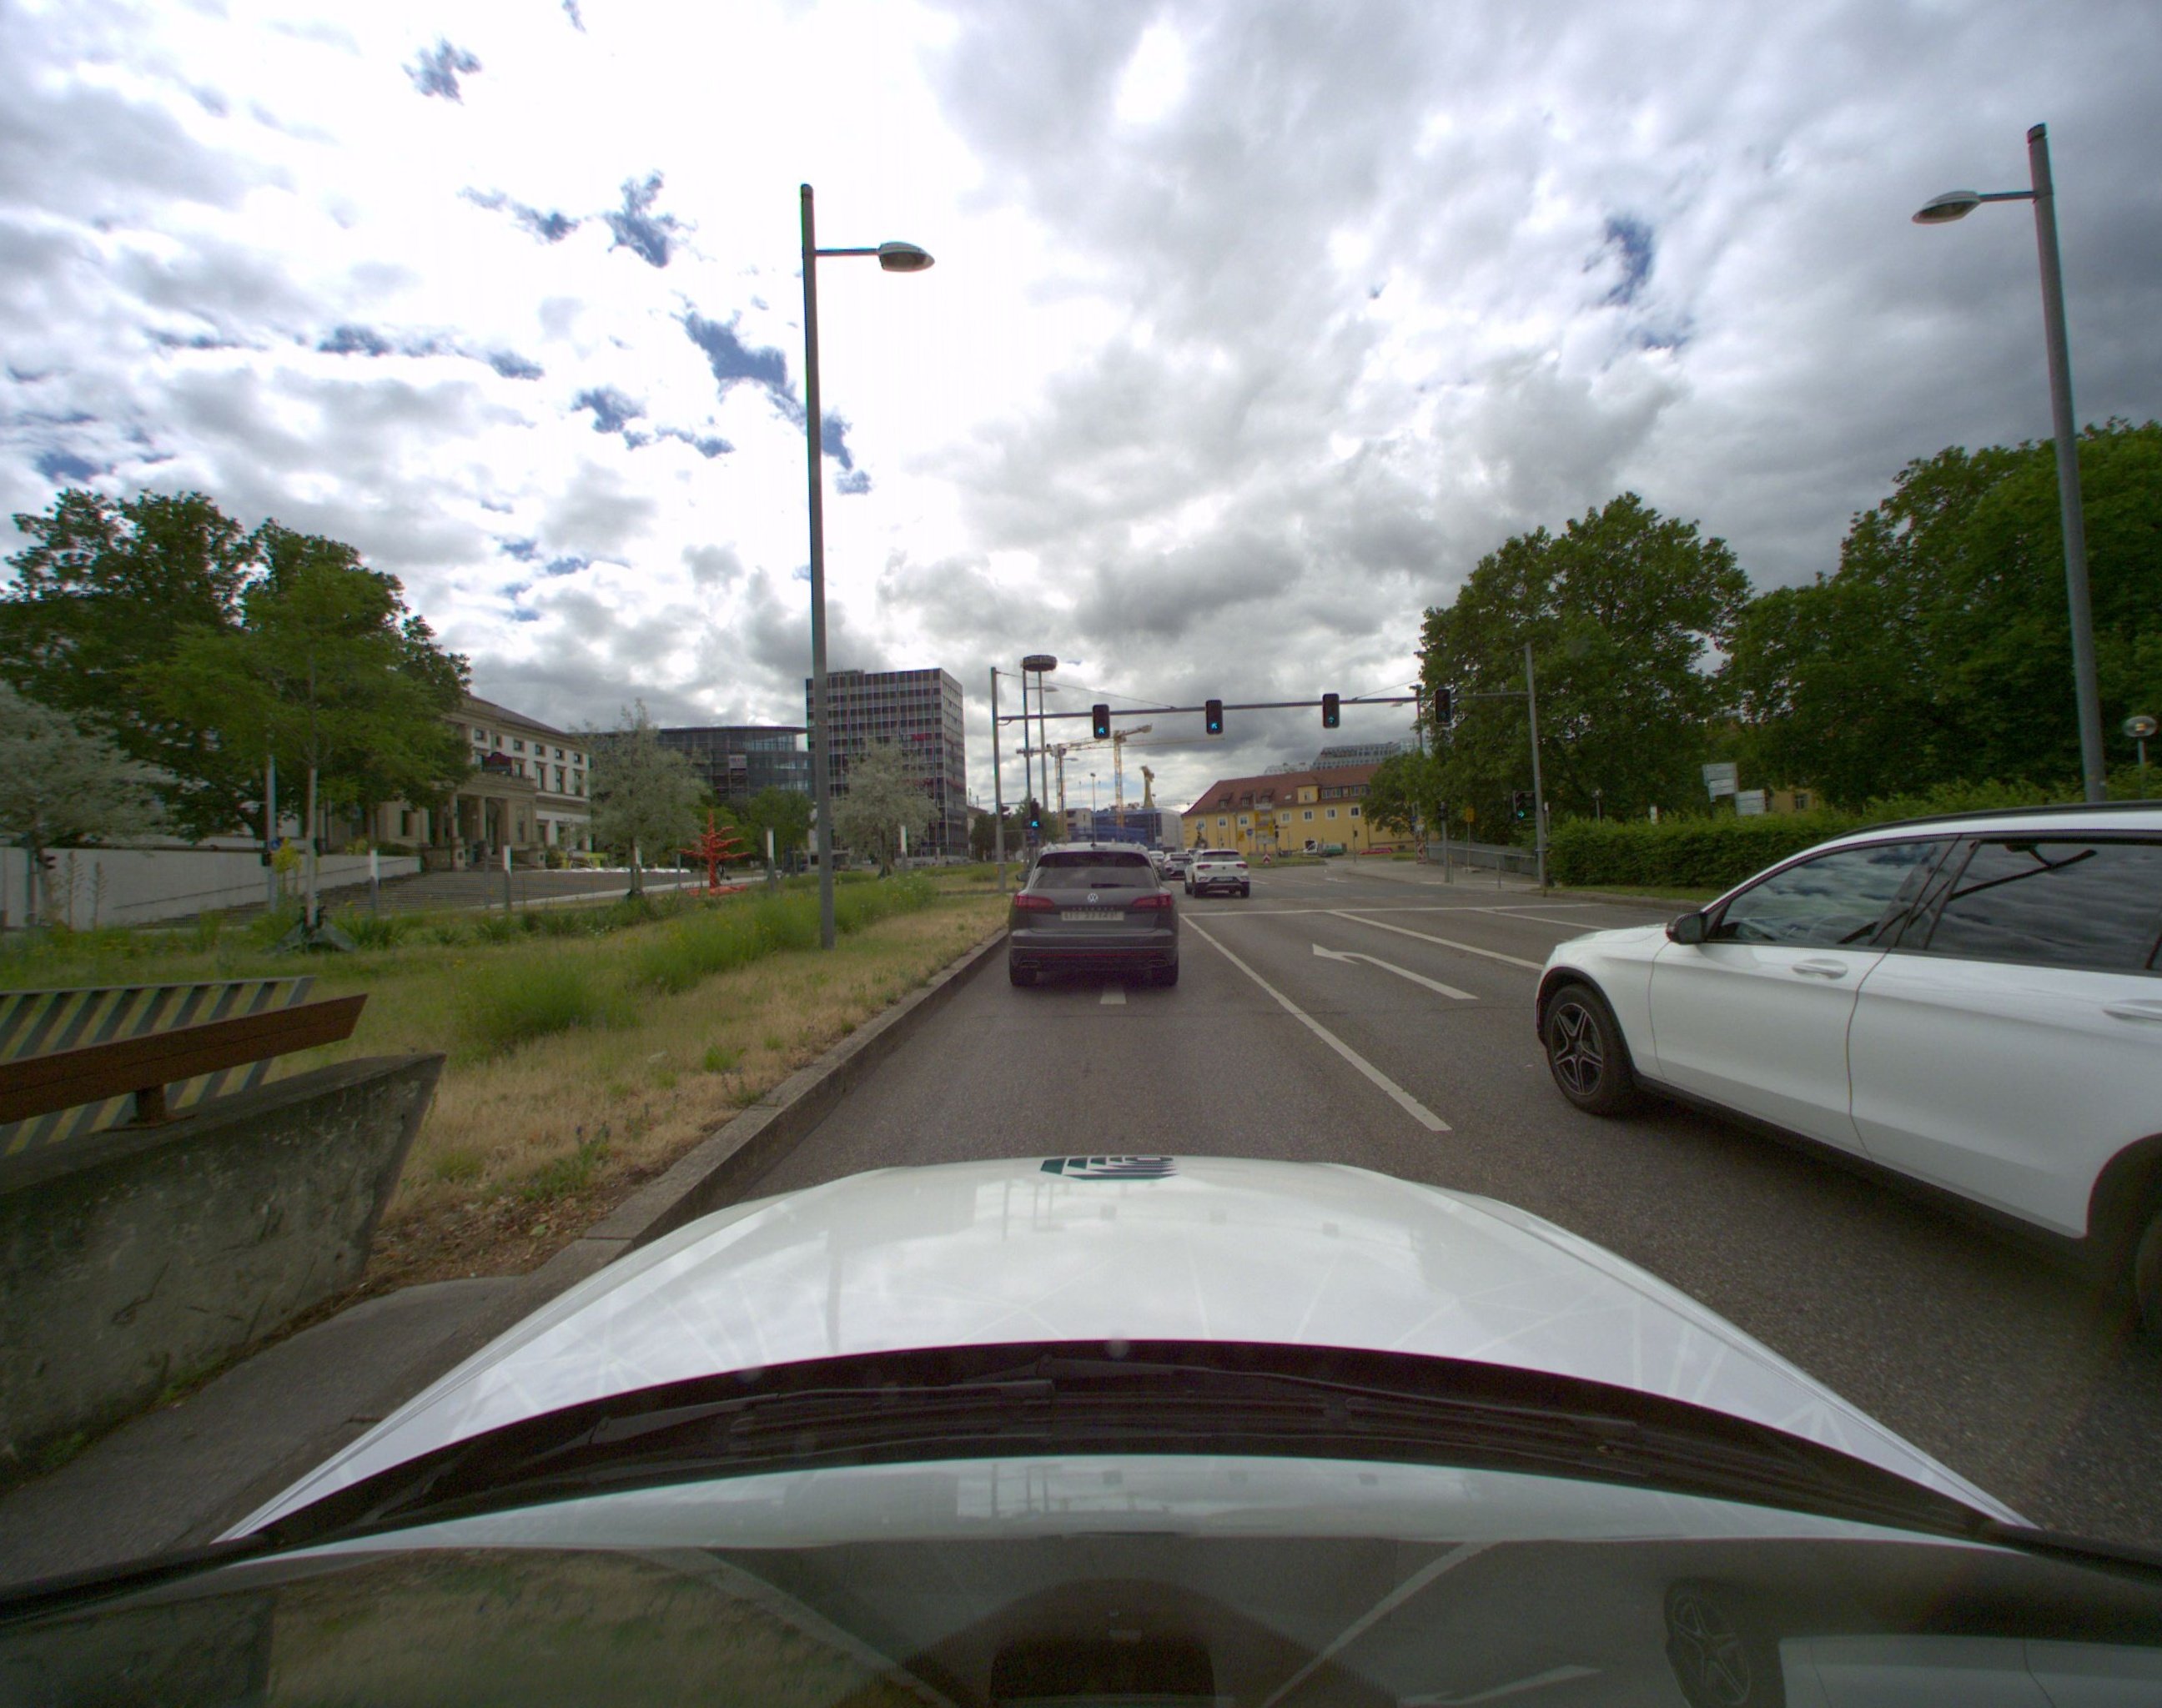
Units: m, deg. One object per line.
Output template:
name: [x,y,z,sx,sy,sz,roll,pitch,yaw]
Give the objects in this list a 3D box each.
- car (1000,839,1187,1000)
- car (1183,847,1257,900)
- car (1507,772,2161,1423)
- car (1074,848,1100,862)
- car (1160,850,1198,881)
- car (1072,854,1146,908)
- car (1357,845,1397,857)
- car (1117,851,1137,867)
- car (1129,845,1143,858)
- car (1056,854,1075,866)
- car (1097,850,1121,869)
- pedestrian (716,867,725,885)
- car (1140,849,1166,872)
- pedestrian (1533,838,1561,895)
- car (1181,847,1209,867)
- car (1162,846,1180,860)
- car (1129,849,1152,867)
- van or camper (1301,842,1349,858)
car: [0.199,0.682,10.615,1.925,1.647,4.002,-2,0,2]
car: [4.515,0.578,26.945,1.886,1.585,3.803,-2,0,2]
car: [3.663,0.583,3.181,1.812,1.647,4.381,-2,0,2]
car: [0.660,0.069,93.752,2.244,1.502,4.598,-2,0,-8]
car: [5.117,0.553,43.070,1.711,1.502,4.147,-2,0,3]
car: [0.846,0.757,24.634,1.986,1.387,4.002,-2,1,2]
car: [39.547,-0.364,108.872,4.632,1.420,1.607,-2,-1,34]
car: [5.207,0.526,93.425,2.131,1.728,4.072,-2,0,2]
car: [9.053,-0.423,134.171,1.986,2.013,4.002,-2,0,2]
car: [-2.048,0.744,105.169,1.720,1.502,3.966,-2,0,-11]
car: [2.298,0.448,68.207,1.808,1.496,3.905,-2,0,0]
pedestrian: [-33.855,2.041,76.378,0.522,1.649,0.651,-1,0,0]
car: [5.059,0.452,56.799,1.710,1.502,3.987,-2,0,5]
pedestrian: [14.698,0.381,25.700,0.477,1.764,0.620,-2,0,-1]
car: [9.046,0.201,64.944,1.795,1.502,3.984,-2,0,3]
car: [9.733,-0.120,88.479,1.711,1.502,3.984,-2,0,3]
car: [5.392,0.350,74.077,1.808,1.496,3.905,-1,0,0]
van or camper: [33.865,-0.574,112.982,5.946,2.013,2.032,-2,-1,37]
